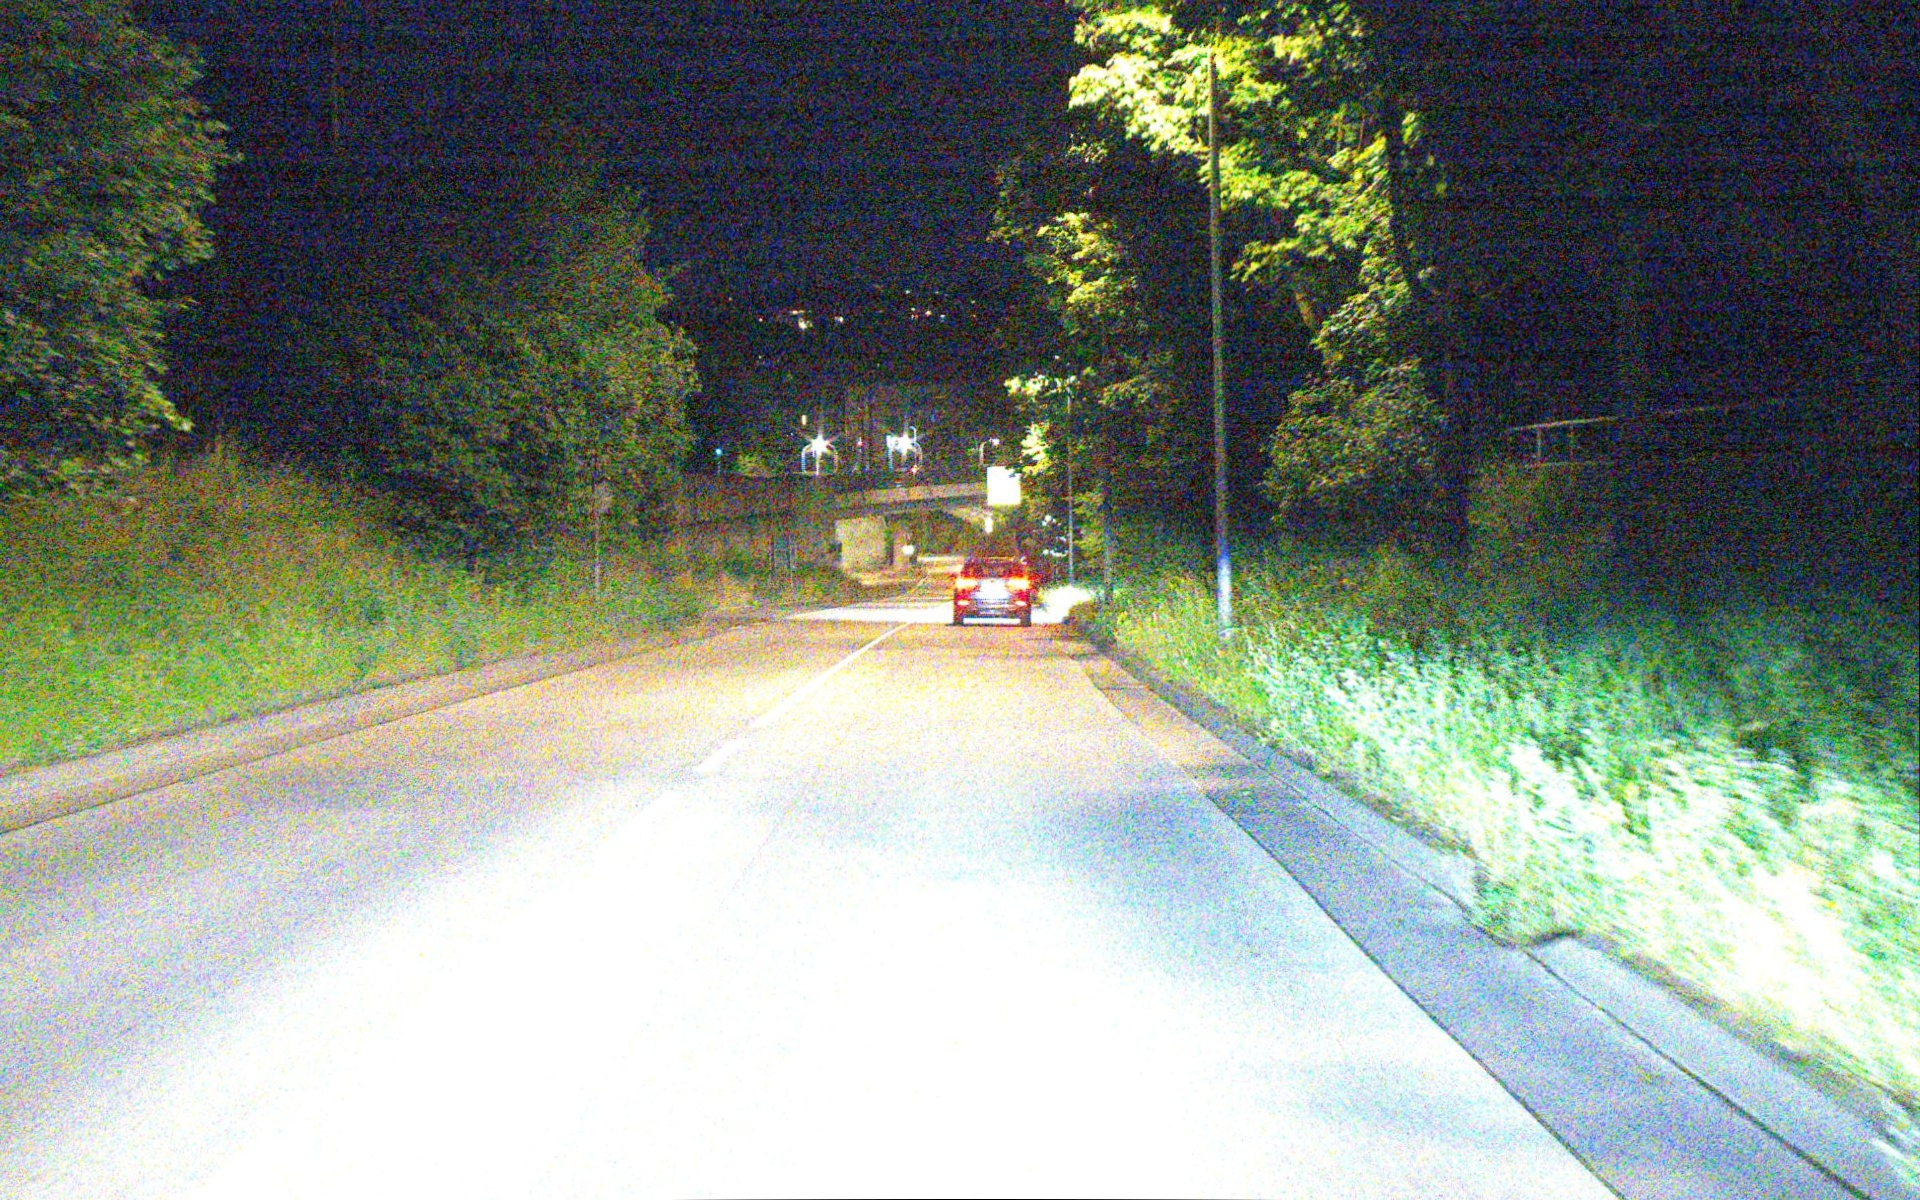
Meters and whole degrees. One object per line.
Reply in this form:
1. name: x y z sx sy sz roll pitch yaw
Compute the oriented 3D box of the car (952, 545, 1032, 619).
1. car: 0.762 -0.433 79.928 1.763 1.636 3.723 0 1 2
